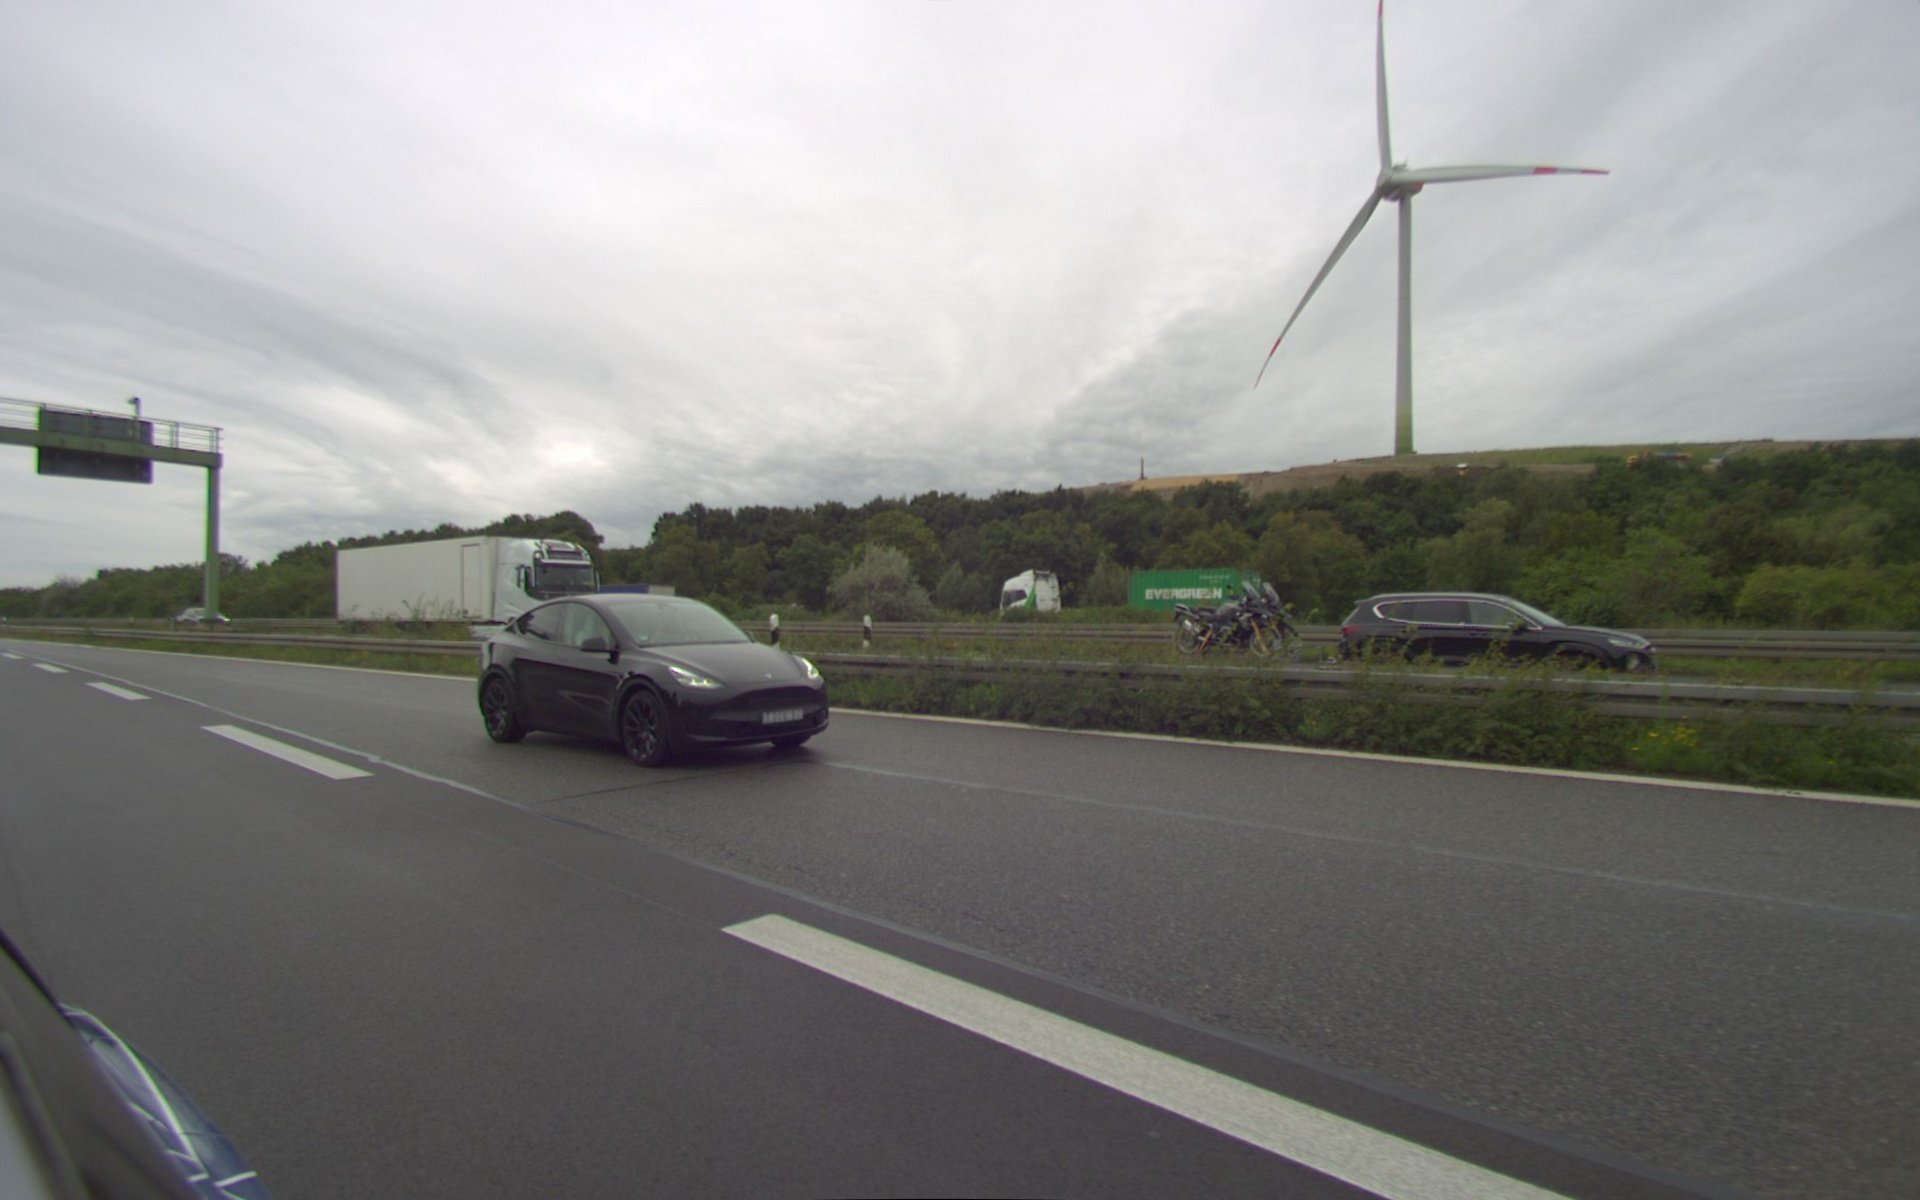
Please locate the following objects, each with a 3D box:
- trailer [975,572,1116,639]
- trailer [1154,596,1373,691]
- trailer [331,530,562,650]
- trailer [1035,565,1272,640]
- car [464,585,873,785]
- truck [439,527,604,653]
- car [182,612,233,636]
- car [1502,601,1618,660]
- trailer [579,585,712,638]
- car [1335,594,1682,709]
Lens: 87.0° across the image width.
[{"bbox_3d":[4.586,0.357,55.283,7.264,3.429,2.930,-1,-1,39],"label":"trailer"},{"bbox_3d":[5.773,0.763,19.409,3.607,1.638,1.863,0,0,40],"label":"trailer"},{"bbox_3d":[-20.899,-0.267,40.472,13.934,4.166,2.739,-1,-1,39],"label":"trailer"},{"bbox_3d":[9.506,0.198,51.329,11.790,3.429,2.930,-1,-1,39],"label":"trailer"},{"bbox_3d":[-3.200,0.706,10.592,4.551,1.650,1.941,0,0,40],"label":"car"},{"bbox_3d":[-15.830,-0.297,36.389,6.437,4.166,2.739,-1,-1,39],"label":"truck"},{"bbox_3d":[-53.988,1.688,72.611,4.480,1.663,1.880,-1,-1,39],"label":"car"},{"bbox_3d":[25.663,1.272,43.337,3.996,2.394,2.002,-1,-1,39],"label":"car"},{"bbox_3d":[-25.011,0.950,79.846,13.507,3.955,2.931,-1,-1,38],"label":"trailer"},{"bbox_3d":[8.947,0.745,16.767,4.803,1.638,1.863,0,0,40],"label":"car"}]
